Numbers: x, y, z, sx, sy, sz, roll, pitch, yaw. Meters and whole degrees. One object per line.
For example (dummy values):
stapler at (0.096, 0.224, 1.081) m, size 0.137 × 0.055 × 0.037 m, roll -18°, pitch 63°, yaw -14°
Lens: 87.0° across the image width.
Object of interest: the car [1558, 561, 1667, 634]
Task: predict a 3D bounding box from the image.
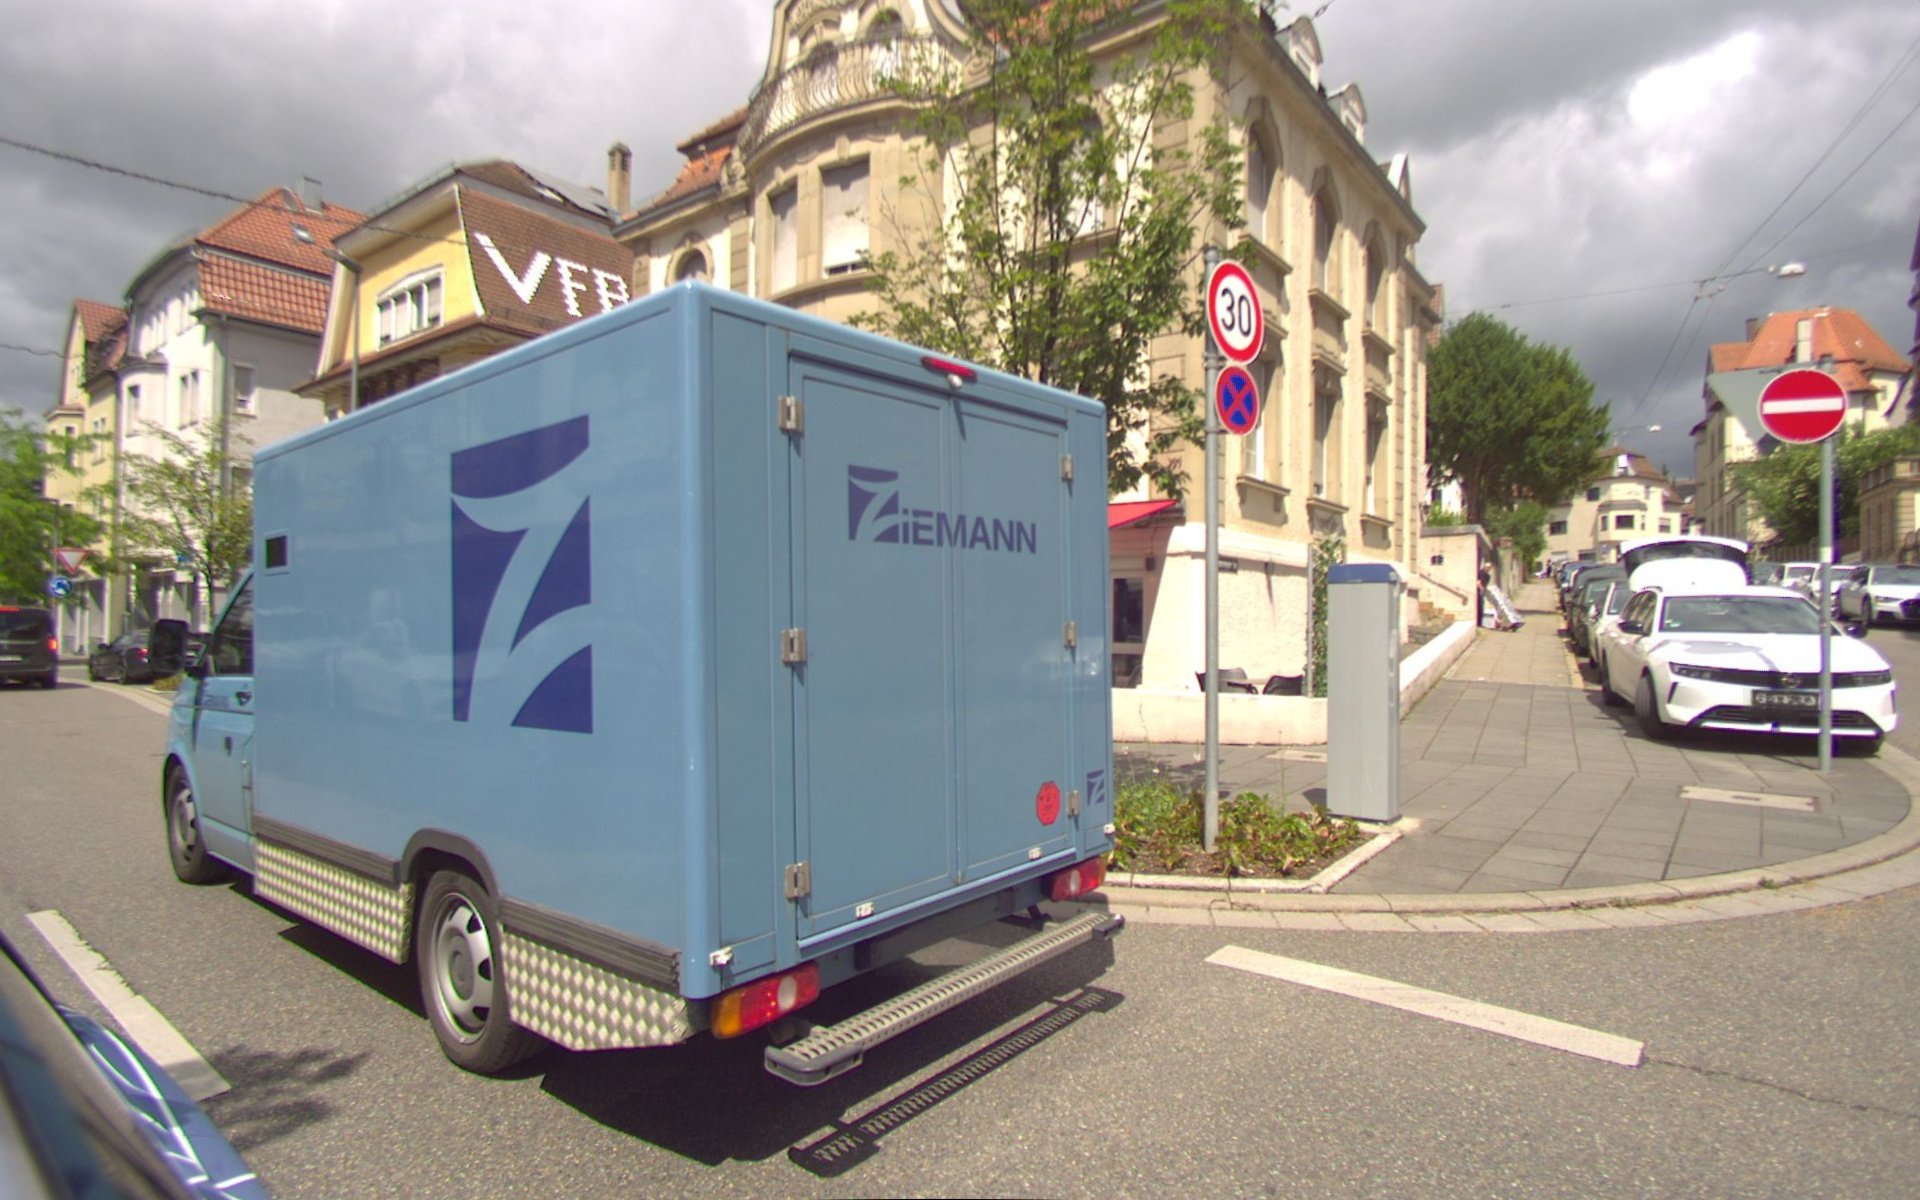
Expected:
car at (15.408, -0.058, 24.079) m, size 1.848 × 1.555 × 3.961 m, roll -2°, pitch 0°, yaw 29°

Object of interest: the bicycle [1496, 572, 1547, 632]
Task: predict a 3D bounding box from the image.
bicycle at (14.076, 0.053, 25.376) m, size 1.003 × 1.461 × 0.809 m, roll -1°, pitch 0°, yaw -41°

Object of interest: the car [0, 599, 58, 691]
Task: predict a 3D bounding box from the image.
car at (-22.485, 1.051, 23.372) m, size 5.173 × 1.948 × 1.852 m, roll -3°, pitch -3°, yaw 41°

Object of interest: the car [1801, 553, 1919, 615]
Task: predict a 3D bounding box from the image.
car at (24.962, -0.448, 28.175) m, size 1.995 × 1.573 × 4.169 m, roll -1°, pitch 1°, yaw 35°

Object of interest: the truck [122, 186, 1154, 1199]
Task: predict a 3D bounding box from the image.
truck at (-2.368, 0.286, 5.141) m, size 6.476 × 2.322 × 2.083 m, roll 0°, pitch 0°, yaw 43°

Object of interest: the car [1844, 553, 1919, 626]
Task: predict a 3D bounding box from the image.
car at (21.877, -0.272, 23.143) m, size 1.995 × 1.573 × 4.169 m, roll -1°, pitch 1°, yaw 35°

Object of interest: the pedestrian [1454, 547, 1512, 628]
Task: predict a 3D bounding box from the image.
pedestrian at (13.458, -0.325, 26.041) m, size 0.958 × 2.029 × 1.040 m, roll -1°, pitch 0°, yaw -42°

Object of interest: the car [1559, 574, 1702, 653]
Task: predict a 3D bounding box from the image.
car at (13.061, 0.203, 19.959) m, size 1.822 × 1.391 × 4.195 m, roll -1°, pitch 1°, yaw 27°

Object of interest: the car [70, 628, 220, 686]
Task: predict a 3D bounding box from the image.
car at (-19.911, 1.368, 24.667) m, size 4.456 × 1.314 × 1.702 m, roll -2°, pitch -2°, yaw 35°

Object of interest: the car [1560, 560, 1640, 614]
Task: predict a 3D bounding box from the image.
car at (19.950, -0.424, 31.460) m, size 1.828 × 1.564 × 4.182 m, roll -1°, pitch 1°, yaw 36°

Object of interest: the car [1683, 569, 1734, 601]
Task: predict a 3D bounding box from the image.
car at (39.110, -0.790, 52.959) m, size 1.995 × 1.573 × 4.169 m, roll -1°, pitch 1°, yaw 35°

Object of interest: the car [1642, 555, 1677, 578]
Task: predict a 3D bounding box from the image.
car at (50.307, -2.410, 72.790) m, size 1.995 × 1.573 × 4.169 m, roll -1°, pitch 1°, yaw 35°

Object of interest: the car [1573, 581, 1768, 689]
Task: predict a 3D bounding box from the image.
car at (10.670, 0.432, 15.514) m, size 1.822 × 1.391 × 4.195 m, roll -1°, pitch 1°, yaw 27°

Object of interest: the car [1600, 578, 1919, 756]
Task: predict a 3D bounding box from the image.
car at (7.884, 0.492, 10.187) m, size 1.990 × 1.391 × 4.348 m, roll -1°, pitch 1°, yaw 27°

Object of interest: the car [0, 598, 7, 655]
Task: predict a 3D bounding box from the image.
car at (-49.206, 1.300, 49.697) m, size 7.256 × 2.692 × 2.282 m, roll -1°, pitch 0°, yaw 36°
